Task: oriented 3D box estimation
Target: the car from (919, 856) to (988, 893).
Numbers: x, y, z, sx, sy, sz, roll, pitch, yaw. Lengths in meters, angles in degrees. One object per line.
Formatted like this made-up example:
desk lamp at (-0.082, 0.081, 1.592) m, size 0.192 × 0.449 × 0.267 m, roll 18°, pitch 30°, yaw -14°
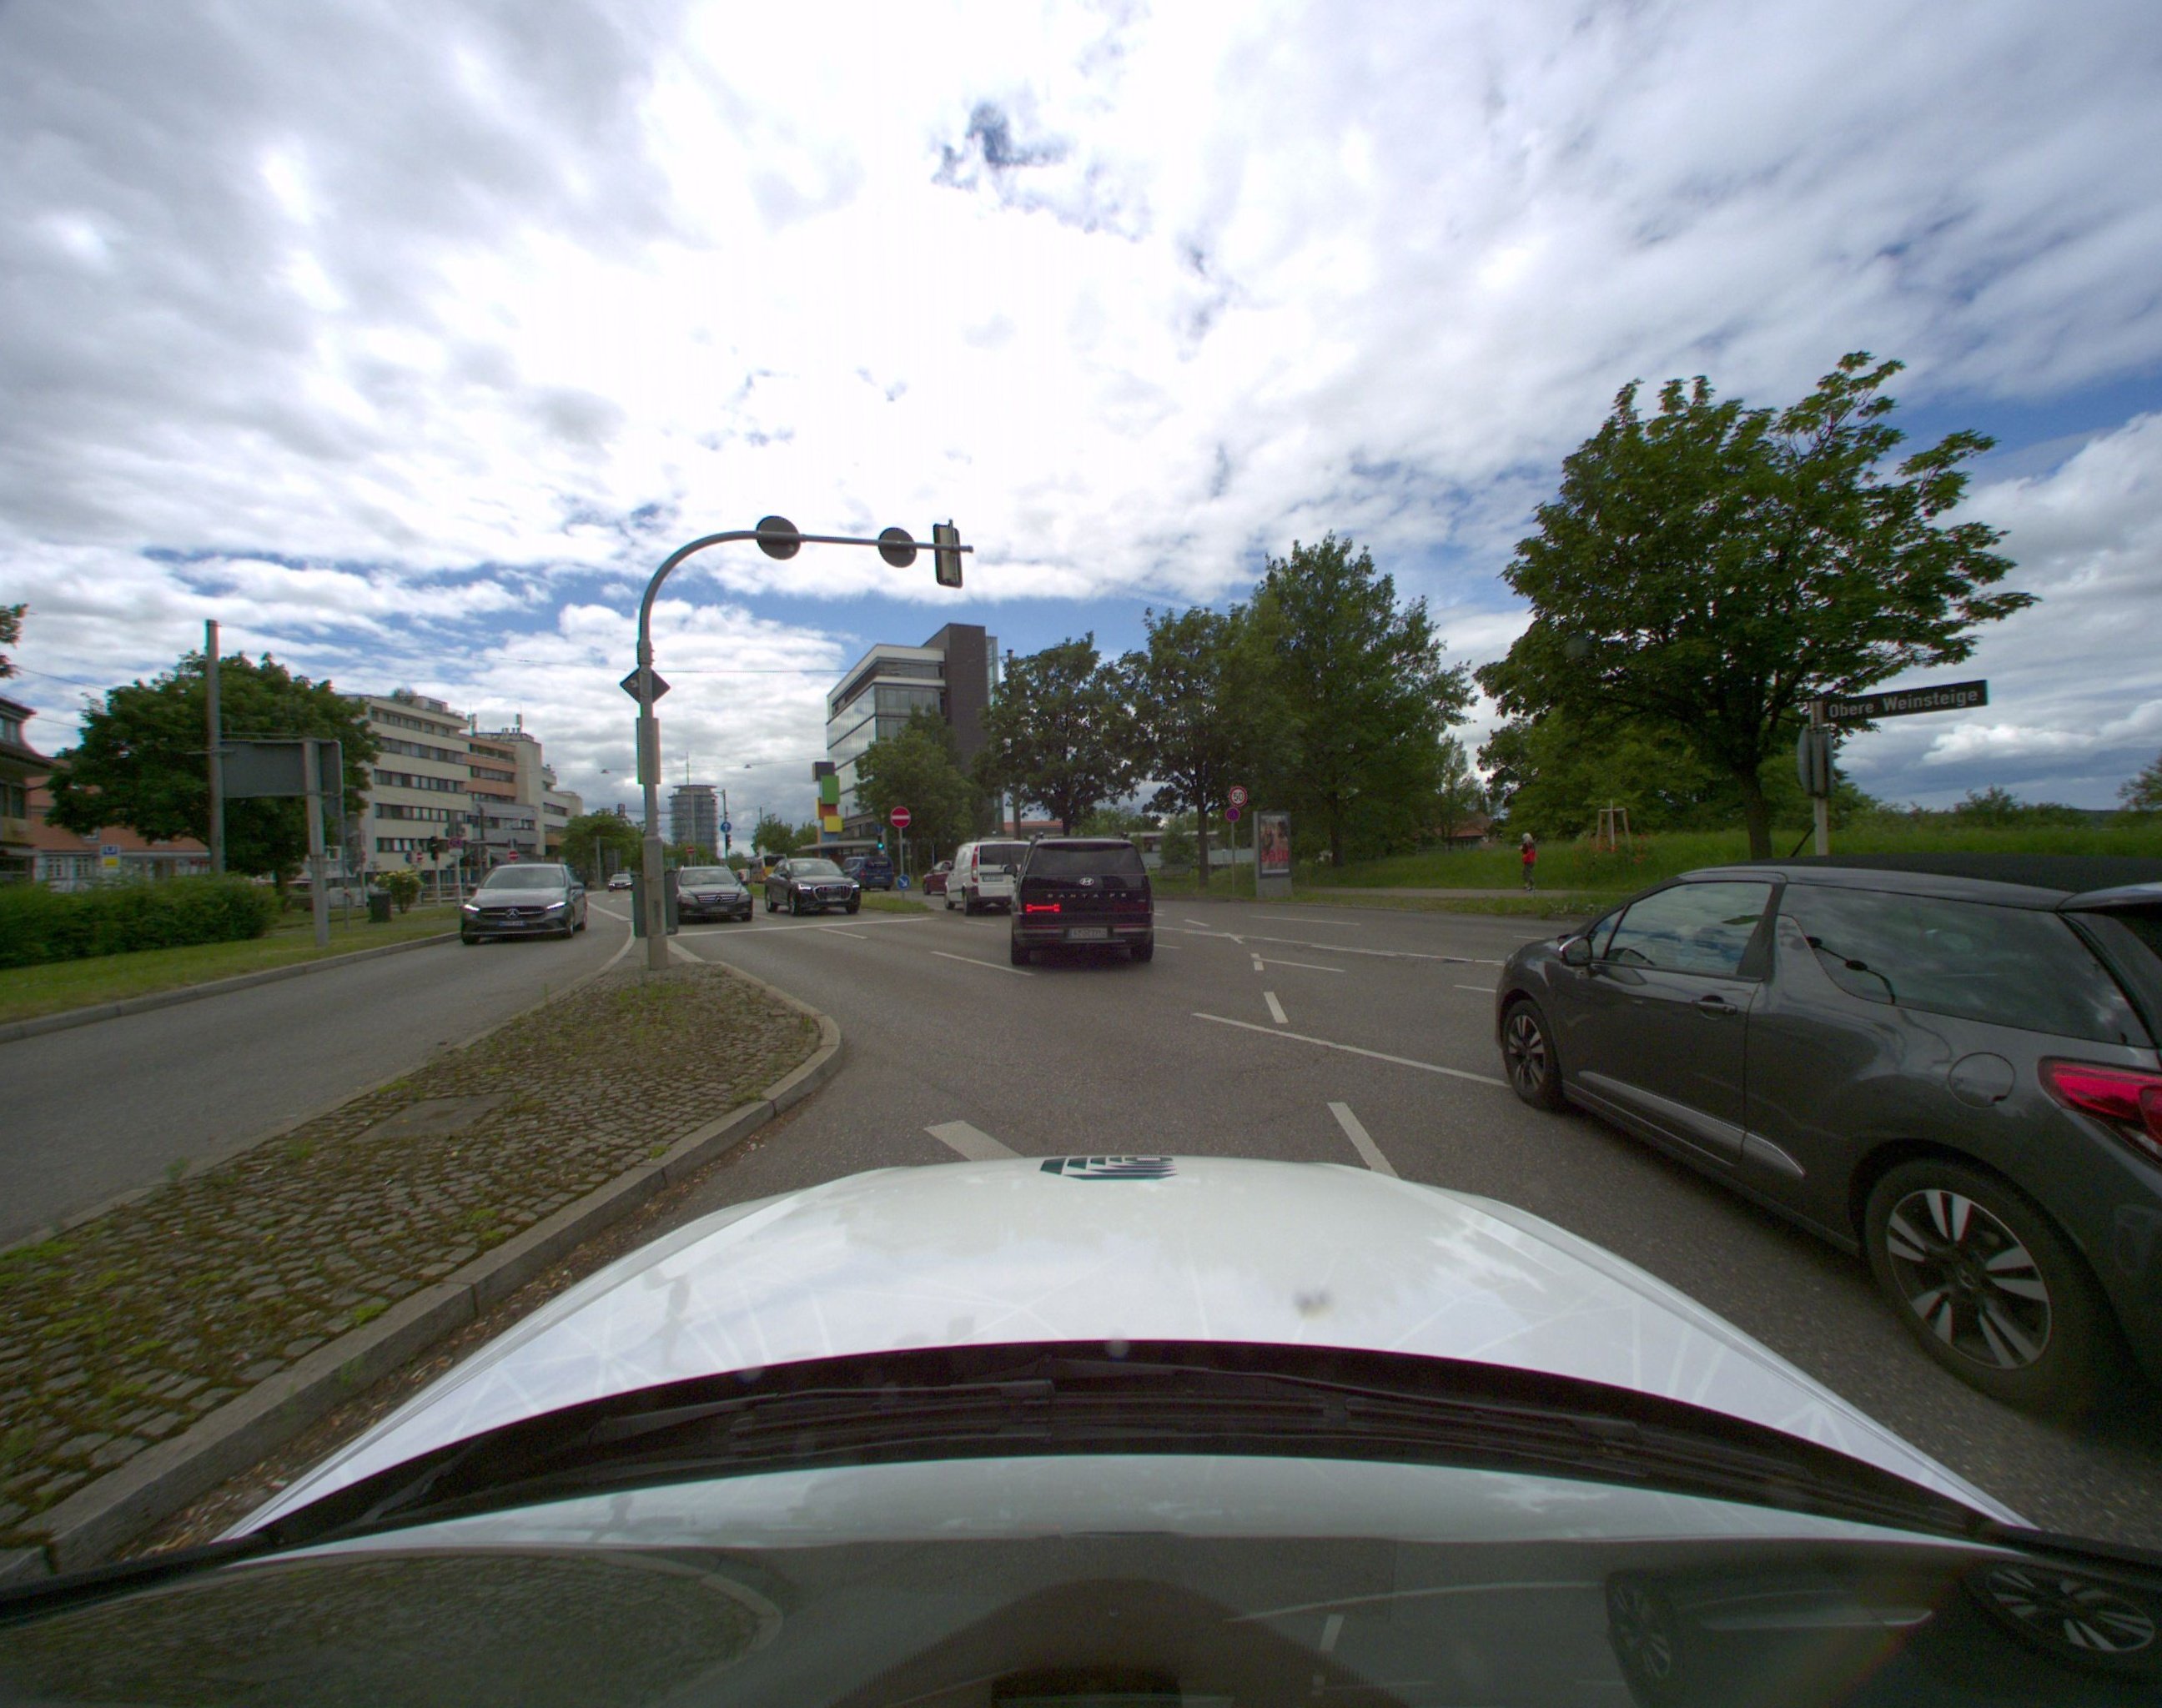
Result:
car at (-5.590, 0.862, 35.445) m, size 1.756 × 1.481 × 3.682 m, roll -1°, pitch 0°, yaw -30°

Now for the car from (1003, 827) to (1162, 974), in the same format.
car at (-0.029, 0.565, 12.031) m, size 1.897 × 1.731 × 4.443 m, roll -1°, pitch 0°, yaw -1°

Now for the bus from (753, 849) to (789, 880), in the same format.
bus at (-34.791, 1.234, 91.155) m, size 2.981 × 3.116 × 9.166 m, roll -4°, pitch 0°, yaw -25°

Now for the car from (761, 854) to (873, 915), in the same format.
car at (-7.747, 0.800, 23.650) m, size 1.902 × 1.564 × 4.348 m, roll -1°, pitch 0°, yaw -35°

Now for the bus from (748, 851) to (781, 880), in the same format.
bus at (-38.773, 1.455, 99.704) m, size 2.967 × 3.111 × 9.892 m, roll -4°, pitch 0°, yaw -25°

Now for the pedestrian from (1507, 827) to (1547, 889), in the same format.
pedestrian at (12.131, 0.113, 22.141) m, size 0.545 × 1.603 × 0.695 m, roll -7°, pitch 4°, yaw -34°

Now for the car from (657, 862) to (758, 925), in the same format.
car at (-9.871, 0.946, 21.345) m, size 1.795 × 1.425 × 4.350 m, roll -1°, pitch 0°, yaw -33°

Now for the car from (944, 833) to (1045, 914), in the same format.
car at (-2.501, 0.479, 22.416) m, size 1.907 × 1.969 × 4.609 m, roll -1°, pitch 0°, yaw -17°

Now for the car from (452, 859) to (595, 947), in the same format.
car at (-11.538, 0.903, 17.154) m, size 1.792 × 1.537 × 4.359 m, roll -1°, pitch 0°, yaw -25°

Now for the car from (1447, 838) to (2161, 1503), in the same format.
car at (3.325, 0.688, 3.693) m, size 1.694 × 1.461 × 4.066 m, roll -1°, pitch 0°, yaw 3°

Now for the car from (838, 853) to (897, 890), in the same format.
car at (-11.724, 0.941, 44.502) m, size 1.914 × 1.859 × 4.662 m, roll -1°, pitch 0°, yaw -31°

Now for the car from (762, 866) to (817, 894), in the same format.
car at (-15.873, 1.360, 44.221) m, size 1.886 × 1.418 × 4.396 m, roll -1°, pitch 0°, yaw -33°

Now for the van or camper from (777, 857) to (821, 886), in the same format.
van or camper at (-20.003, 1.200, 57.709) m, size 2.007 × 1.917 × 4.365 m, roll -2°, pitch 1°, yaw -31°

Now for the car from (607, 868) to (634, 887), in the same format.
car at (-38.298, 1.929, 67.812) m, size 1.809 × 1.455 × 4.570 m, roll -3°, pitch 0°, yaw -28°

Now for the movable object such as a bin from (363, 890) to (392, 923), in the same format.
movable object such as a bin at (-23.064, 1.706, 26.709) m, size 0.567 × 1.012 × 0.830 m, roll -2°, pitch 0°, yaw -32°
